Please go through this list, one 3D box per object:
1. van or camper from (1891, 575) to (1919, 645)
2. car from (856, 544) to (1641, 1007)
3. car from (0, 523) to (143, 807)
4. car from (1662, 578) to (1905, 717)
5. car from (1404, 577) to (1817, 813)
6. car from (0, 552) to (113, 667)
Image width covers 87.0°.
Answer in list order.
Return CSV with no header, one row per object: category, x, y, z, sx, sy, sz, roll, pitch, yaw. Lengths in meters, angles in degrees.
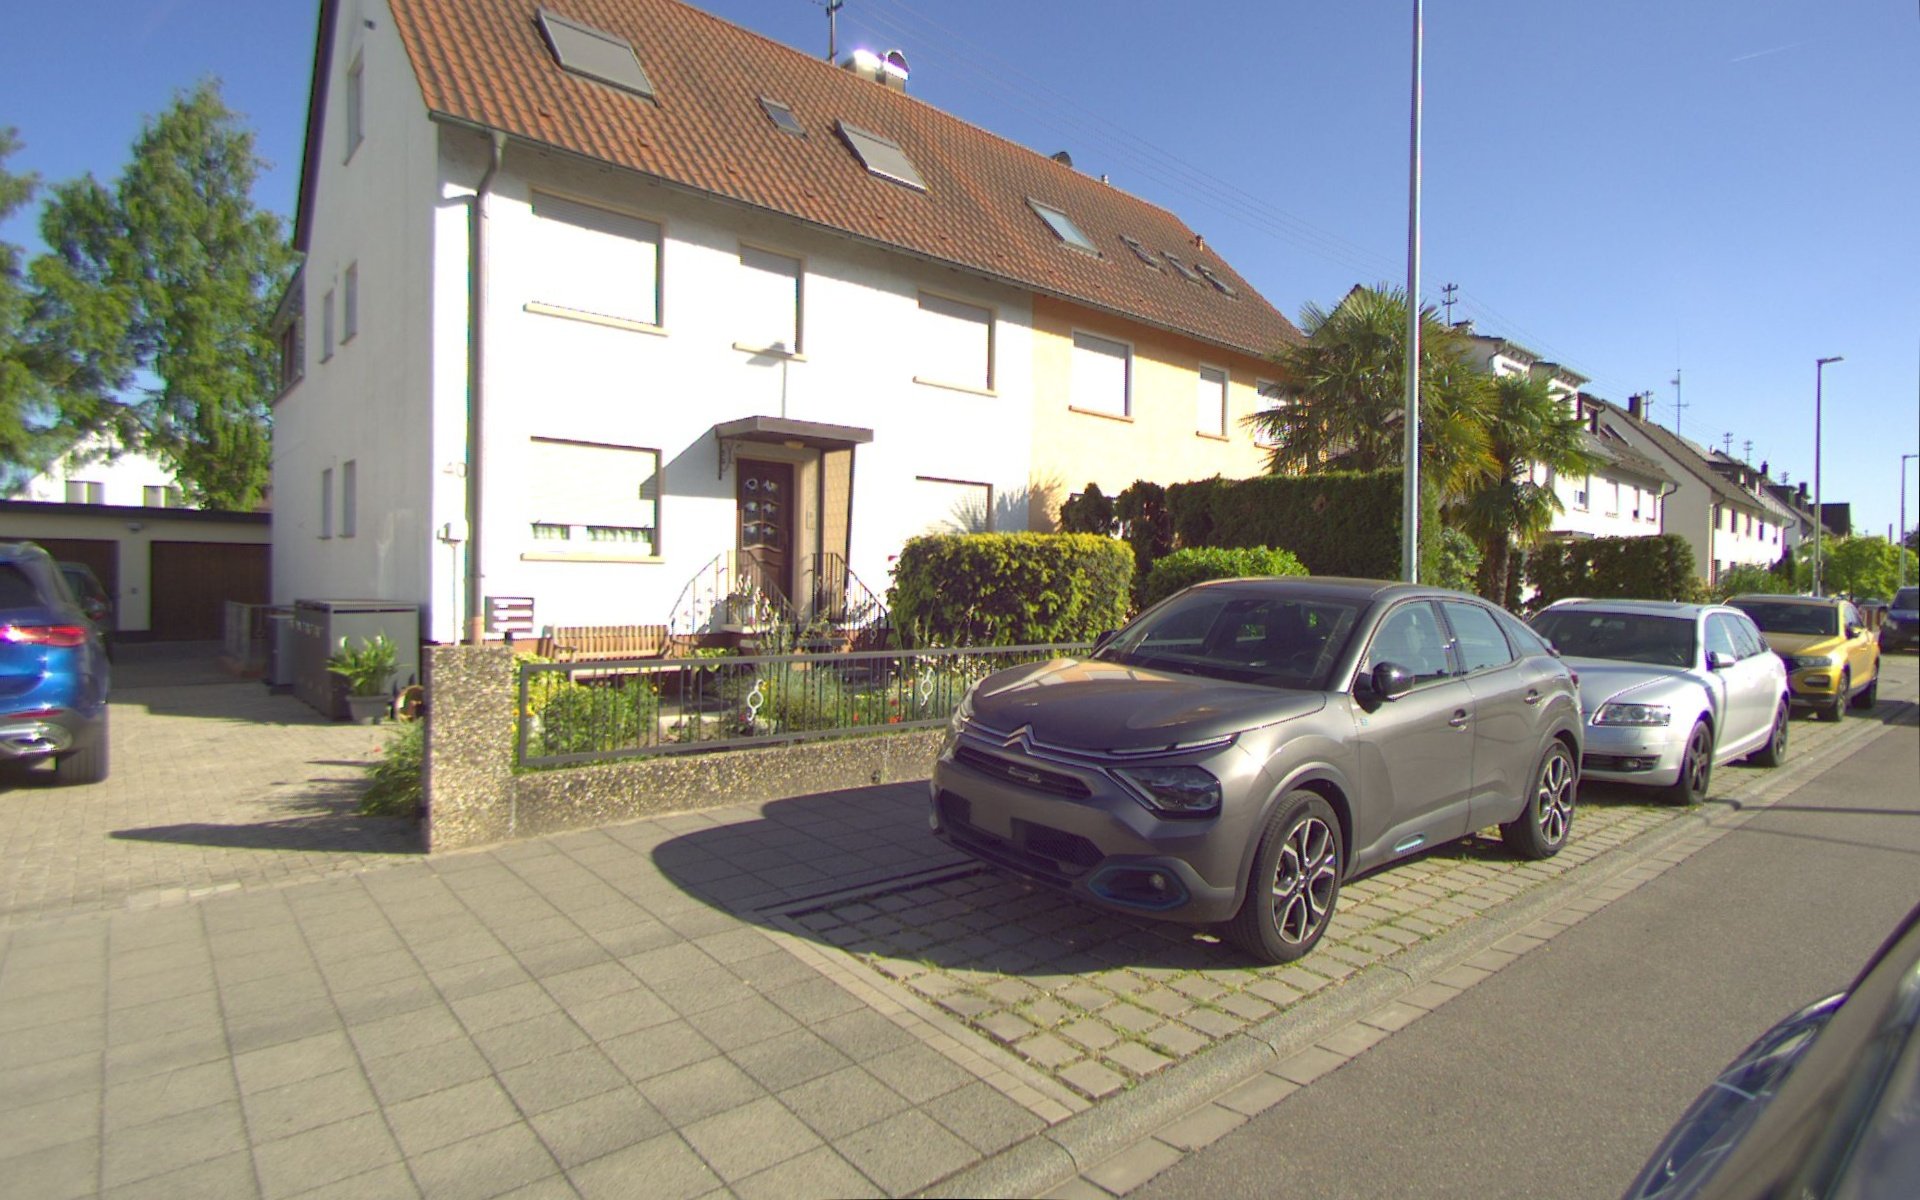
van or camper,27.981,0.266,28.615,5.488,1.869,1.952,-1,3,-43
car,1.870,0.546,5.488,4.644,1.517,1.781,0,2,-40
car,-7.472,0.350,7.304,2.160,1.675,4.419,-1,1,-43
car,11.563,0.520,14.082,4.841,1.578,1.809,-1,3,-41
car,5.732,0.618,8.642,4.616,1.465,1.751,1,1,-42
car,-14.754,0.081,16.195,1.782,1.639,3.820,0,2,-41
